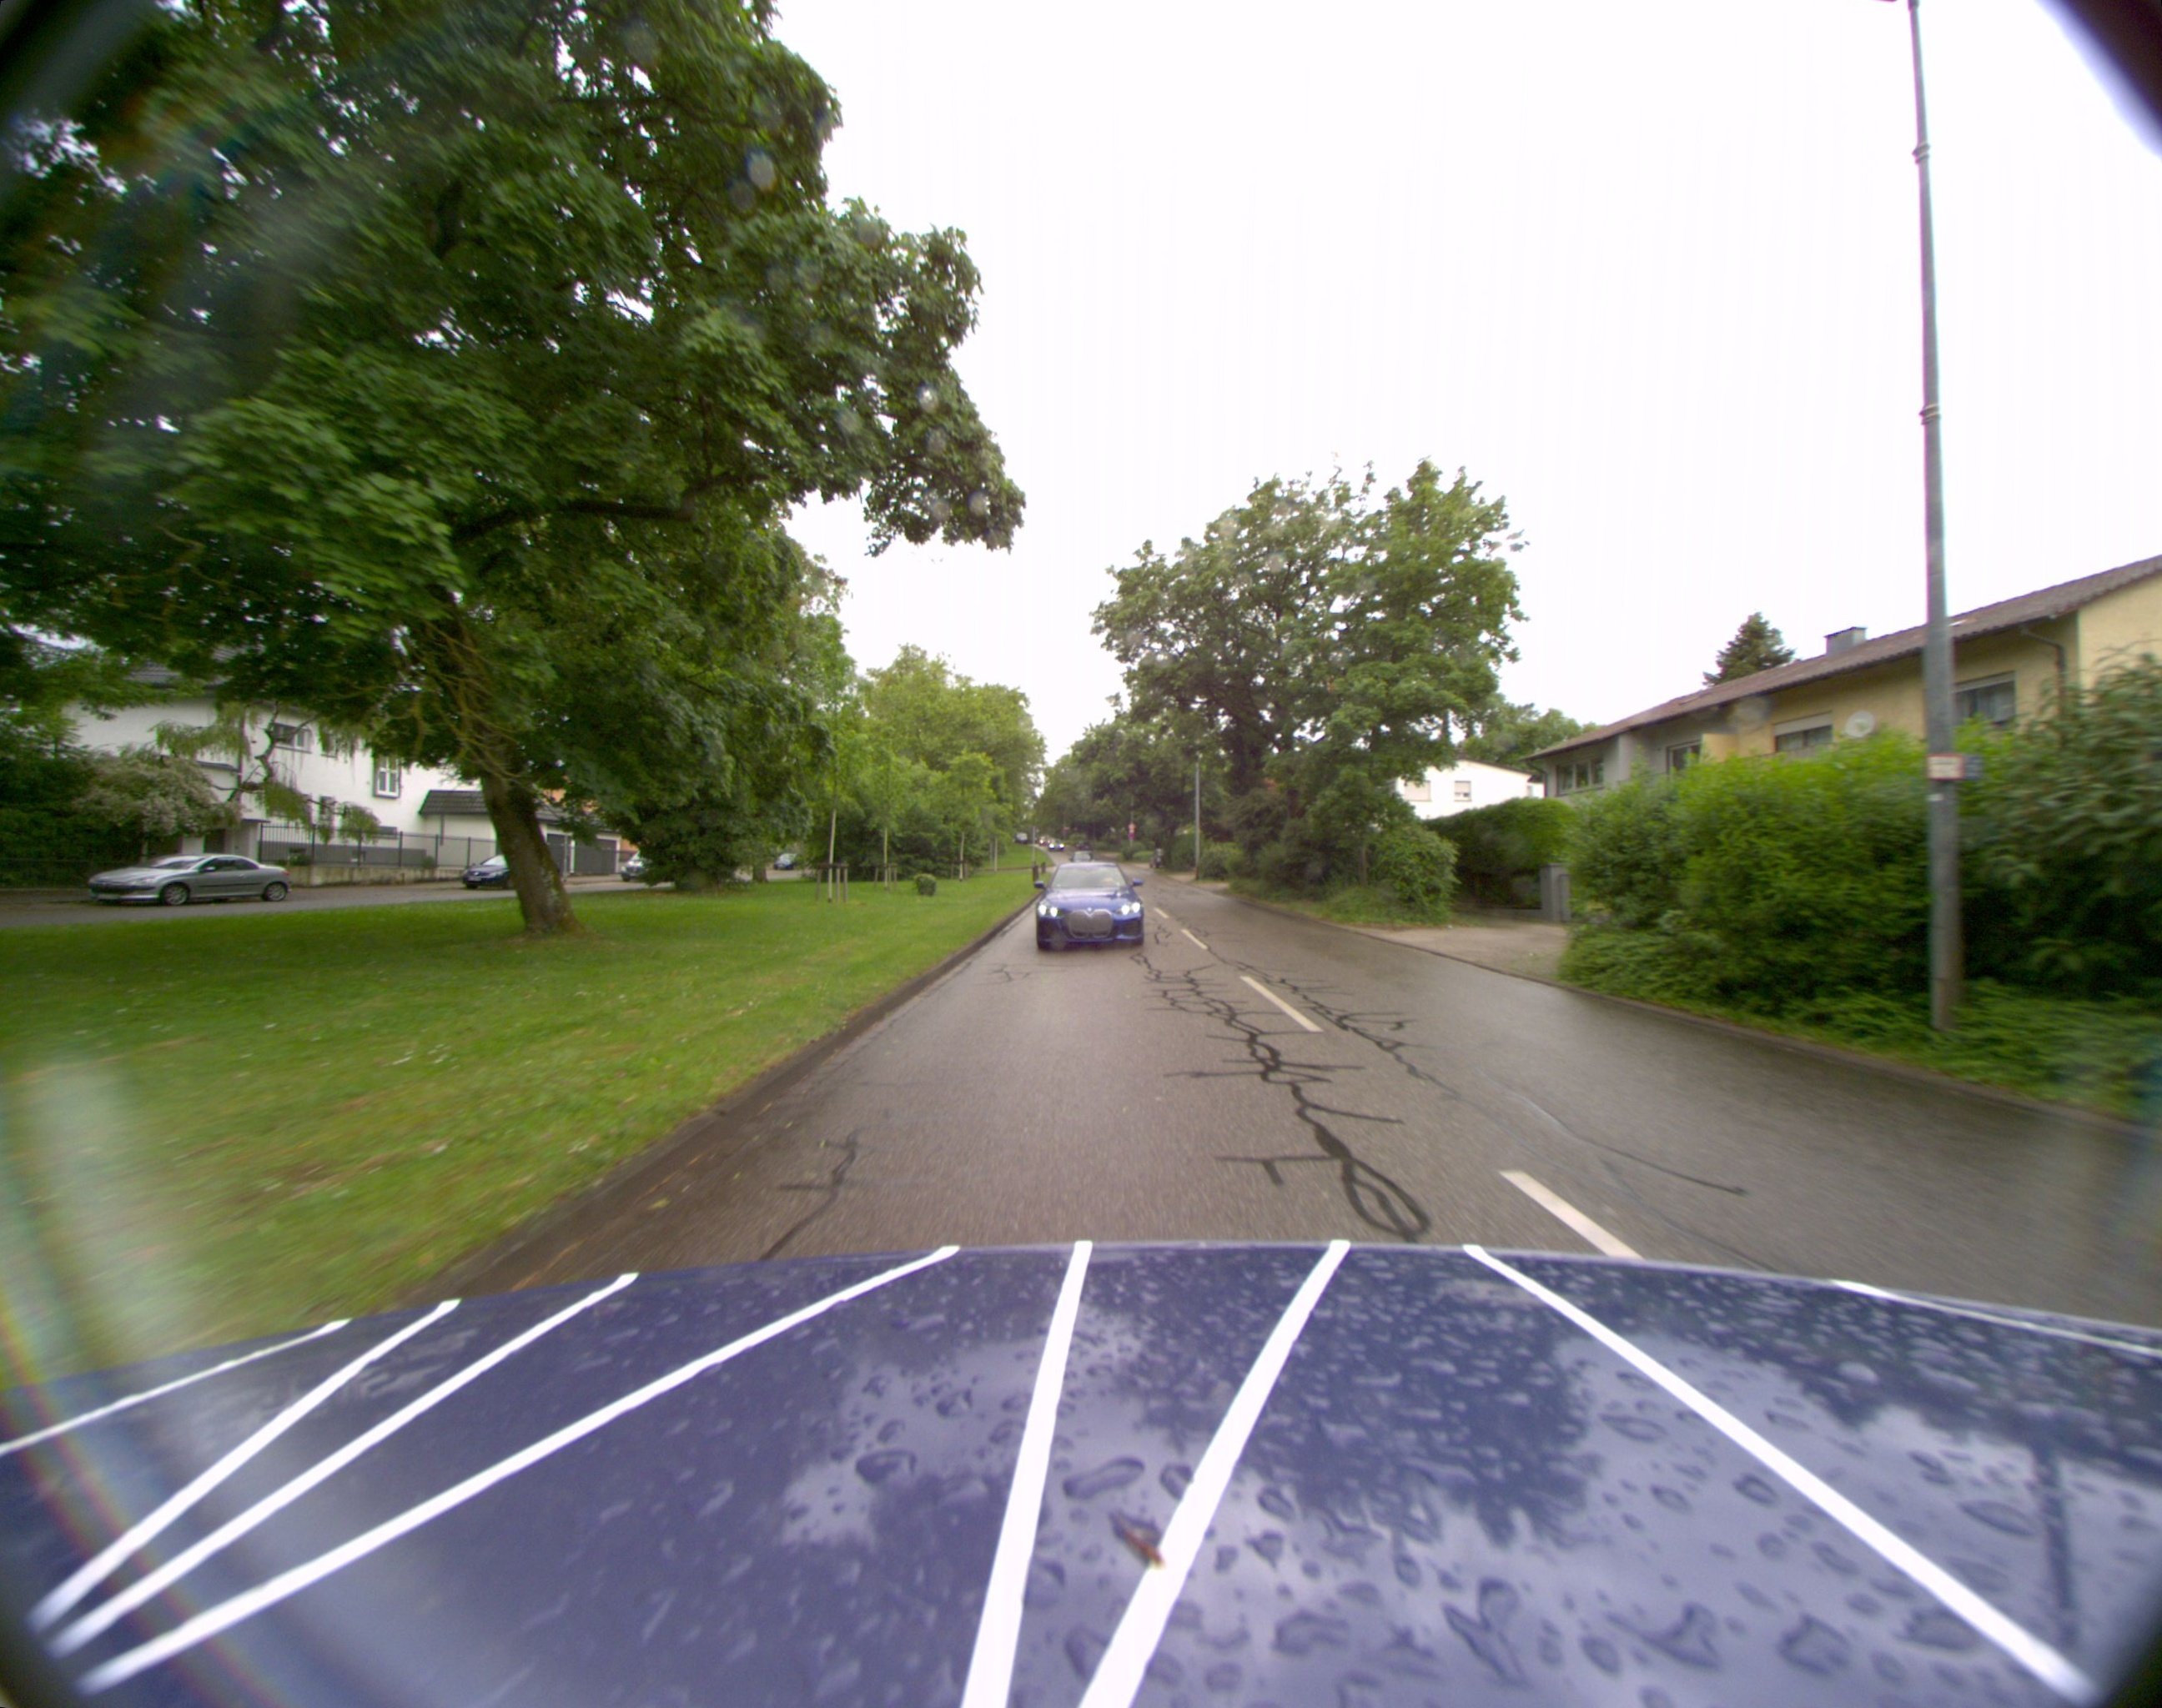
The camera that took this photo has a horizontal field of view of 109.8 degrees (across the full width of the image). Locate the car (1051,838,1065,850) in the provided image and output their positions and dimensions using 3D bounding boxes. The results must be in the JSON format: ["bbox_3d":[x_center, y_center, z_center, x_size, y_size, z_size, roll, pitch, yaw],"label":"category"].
[{"bbox_3d":[-3.179,-1.318,103.991,1.678,1.542,3.832,1,1,1],"label":"car"}]

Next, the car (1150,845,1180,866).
[{"bbox_3d":[6.764,0.067,61.622,1.668,1.533,4.281,-3,1,-3],"label":"car"}]

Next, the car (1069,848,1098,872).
[{"bbox_3d":[0.215,0.399,49.282,1.796,1.458,4.510,0,-1,1],"label":"car"}]

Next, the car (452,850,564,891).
[{"bbox_3d":[-24.608,0.653,32.827,1.907,1.615,4.033,1,1,-2],"label":"car"}]

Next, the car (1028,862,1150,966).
[{"bbox_3d":[0.216,0.929,13.621,1.796,1.459,4.510,-1,0,2],"label":"car"}]

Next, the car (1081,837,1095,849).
[{"bbox_3d":[0.895,-1.486,99.691,1.759,1.356,4.322,2,3,-1],"label":"car"}]

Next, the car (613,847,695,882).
[{"bbox_3d":[-25.258,0.567,45.148,2.165,1.868,5.068,1,1,-2],"label":"car"}]

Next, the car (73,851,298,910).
[{"bbox_3d":[-23.895,0.652,20.508,1.686,1.367,3.709,3,0,-2],"label":"car"}]

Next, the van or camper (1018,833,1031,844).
[{"bbox_3d":[-9.660,-2.651,128.897,2.000,1.858,5.659,1,2,-7],"label":"van or camper"}]
